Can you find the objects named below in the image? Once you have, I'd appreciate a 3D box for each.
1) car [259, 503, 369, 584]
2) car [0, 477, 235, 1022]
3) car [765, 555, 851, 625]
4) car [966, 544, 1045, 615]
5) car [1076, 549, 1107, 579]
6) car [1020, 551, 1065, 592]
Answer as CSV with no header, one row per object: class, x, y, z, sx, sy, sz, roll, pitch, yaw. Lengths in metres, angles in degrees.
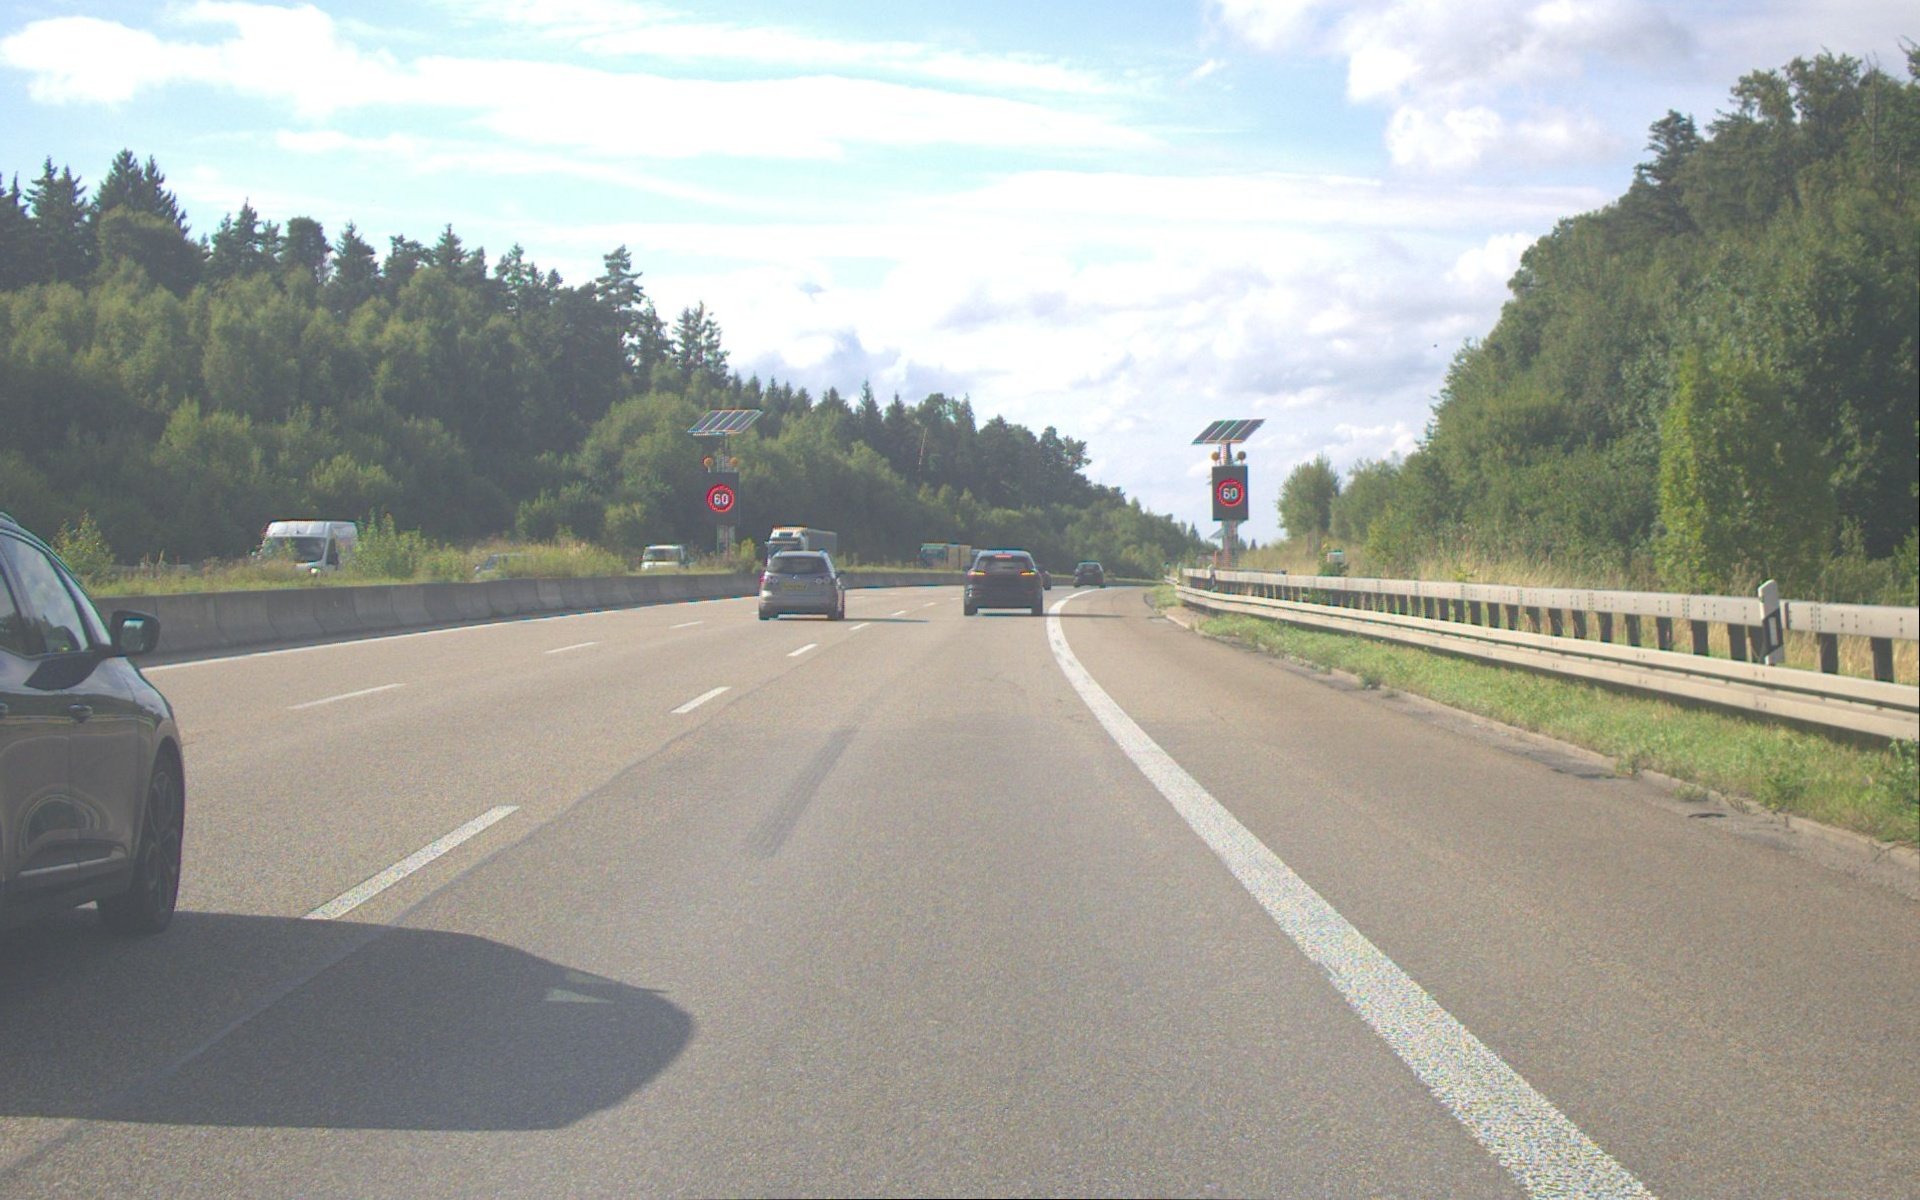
car,-18.290,-1.603,97.585,2.065,2.236,5.204,1,1,1
car,-4.007,0.431,12.159,1.993,1.701,4.529,1,1,-1
car,-3.407,-0.244,77.478,1.873,1.492,3.880,1,1,-2
car,1.123,-0.529,85.910,1.873,1.669,3.890,1,1,0
car,7.869,-2.167,205.706,1.812,1.700,4.000,0,1,2
car,4.173,-1.461,174.412,1.993,2.007,4.001,1,1,-3
